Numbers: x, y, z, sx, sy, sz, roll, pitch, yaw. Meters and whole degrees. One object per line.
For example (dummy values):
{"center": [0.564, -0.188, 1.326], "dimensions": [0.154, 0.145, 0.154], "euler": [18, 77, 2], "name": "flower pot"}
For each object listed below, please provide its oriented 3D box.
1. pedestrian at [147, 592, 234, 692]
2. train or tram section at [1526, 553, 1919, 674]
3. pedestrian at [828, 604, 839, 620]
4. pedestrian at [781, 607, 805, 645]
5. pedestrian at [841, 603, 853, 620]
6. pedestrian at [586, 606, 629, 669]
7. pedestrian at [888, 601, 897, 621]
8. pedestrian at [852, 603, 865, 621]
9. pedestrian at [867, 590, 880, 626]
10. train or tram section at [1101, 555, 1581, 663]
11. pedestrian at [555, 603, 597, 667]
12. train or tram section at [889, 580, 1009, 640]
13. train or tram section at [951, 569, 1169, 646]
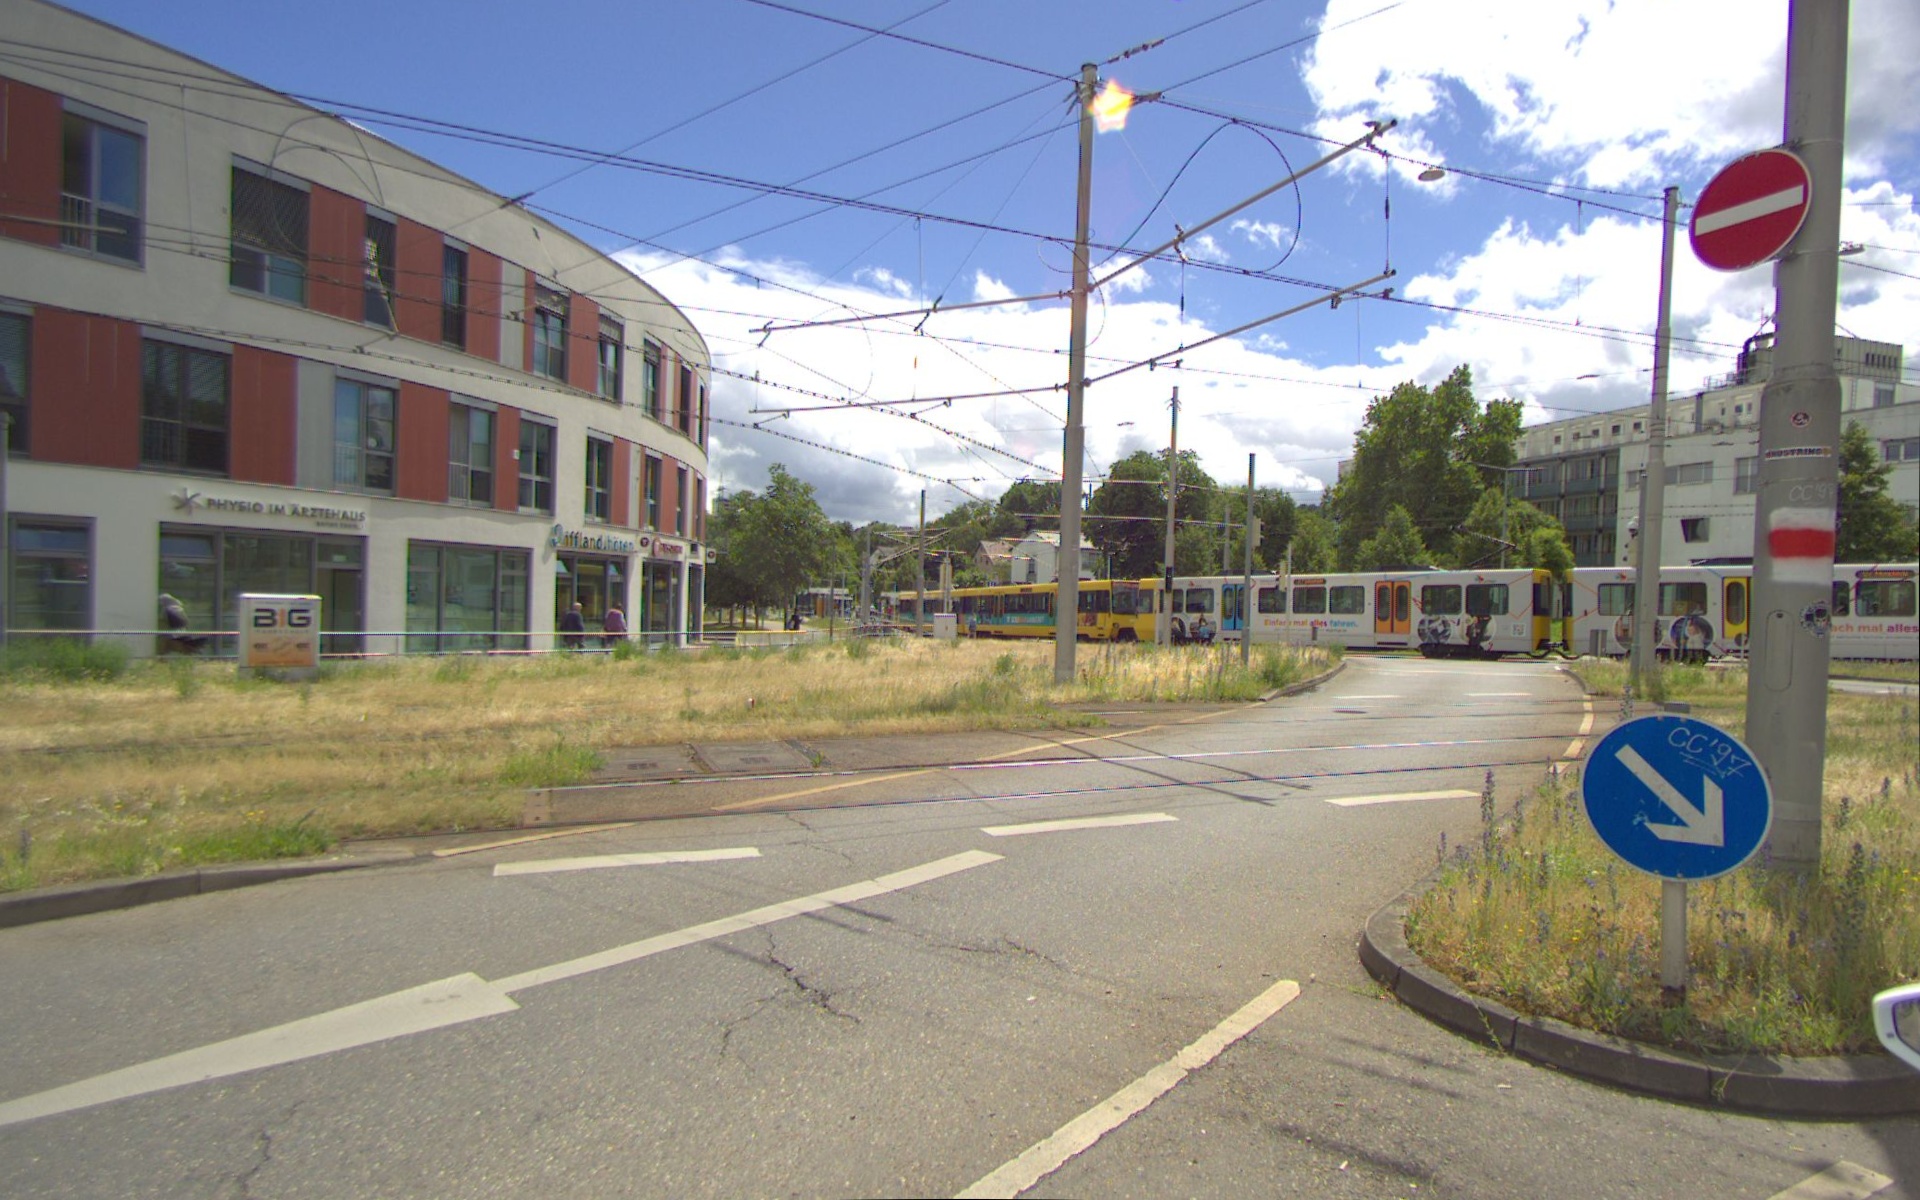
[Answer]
{"center": [-15.776, 0.848, 20.612], "dimensions": [0.849, 1.994, 1.114], "euler": [1, -1, 30], "name": "pedestrian"}
{"center": [30.599, 0.488, 33.976], "dimensions": [19.671, 3.864, 3.759], "euler": [1, -2, 25], "name": "train or tram section"}
{"center": [-16.788, 1.602, 133.605], "dimensions": [1.241, 2.040, 1.121], "euler": [2, -1, -19], "name": "pedestrian"}
{"center": [-7.466, 1.163, 44.960], "dimensions": [0.847, 1.646, 0.733], "euler": [1, -1, 7], "name": "pedestrian"}
{"center": [-13.931, 1.416, 124.299], "dimensions": [1.241, 2.040, 1.121], "euler": [2, -1, -19], "name": "pedestrian"}
{"center": [-11.398, 1.215, 32.508], "dimensions": [0.847, 1.994, 1.107], "euler": [1, -1, 6], "name": "pedestrian"}
{"center": [-7.100, 1.176, 105.844], "dimensions": [0.807, 2.040, 0.771], "euler": [2, -1, -15], "name": "pedestrian"}
{"center": [-12.098, 1.432, 119.322], "dimensions": [1.241, 2.040, 1.121], "euler": [2, -1, -19], "name": "pedestrian"}
{"center": [-14.932, 1.385, 173.214], "dimensions": [1.964, 5.998, 2.368], "euler": [2, -1, -9], "name": "pedestrian"}
{"center": [15.627, 0.414, 44.908], "dimensions": [3.738, 3.930, 20.360], "euler": [3, -2, -45], "name": "train or tram section"}
{"center": [-9.958, 0.898, 26.064], "dimensions": [0.721, 1.601, 0.691], "euler": [1, 0, 23], "name": "pedestrian"}
{"center": [-1.338, 0.868, 78.023], "dimensions": [3.703, 3.970, 18.820], "euler": [2, -2, -18], "name": "train or tram section"}
{"center": [5.203, 0.560, 61.168], "dimensions": [3.710, 3.880, 20.030], "euler": [2, -2, -24], "name": "train or tram section"}
